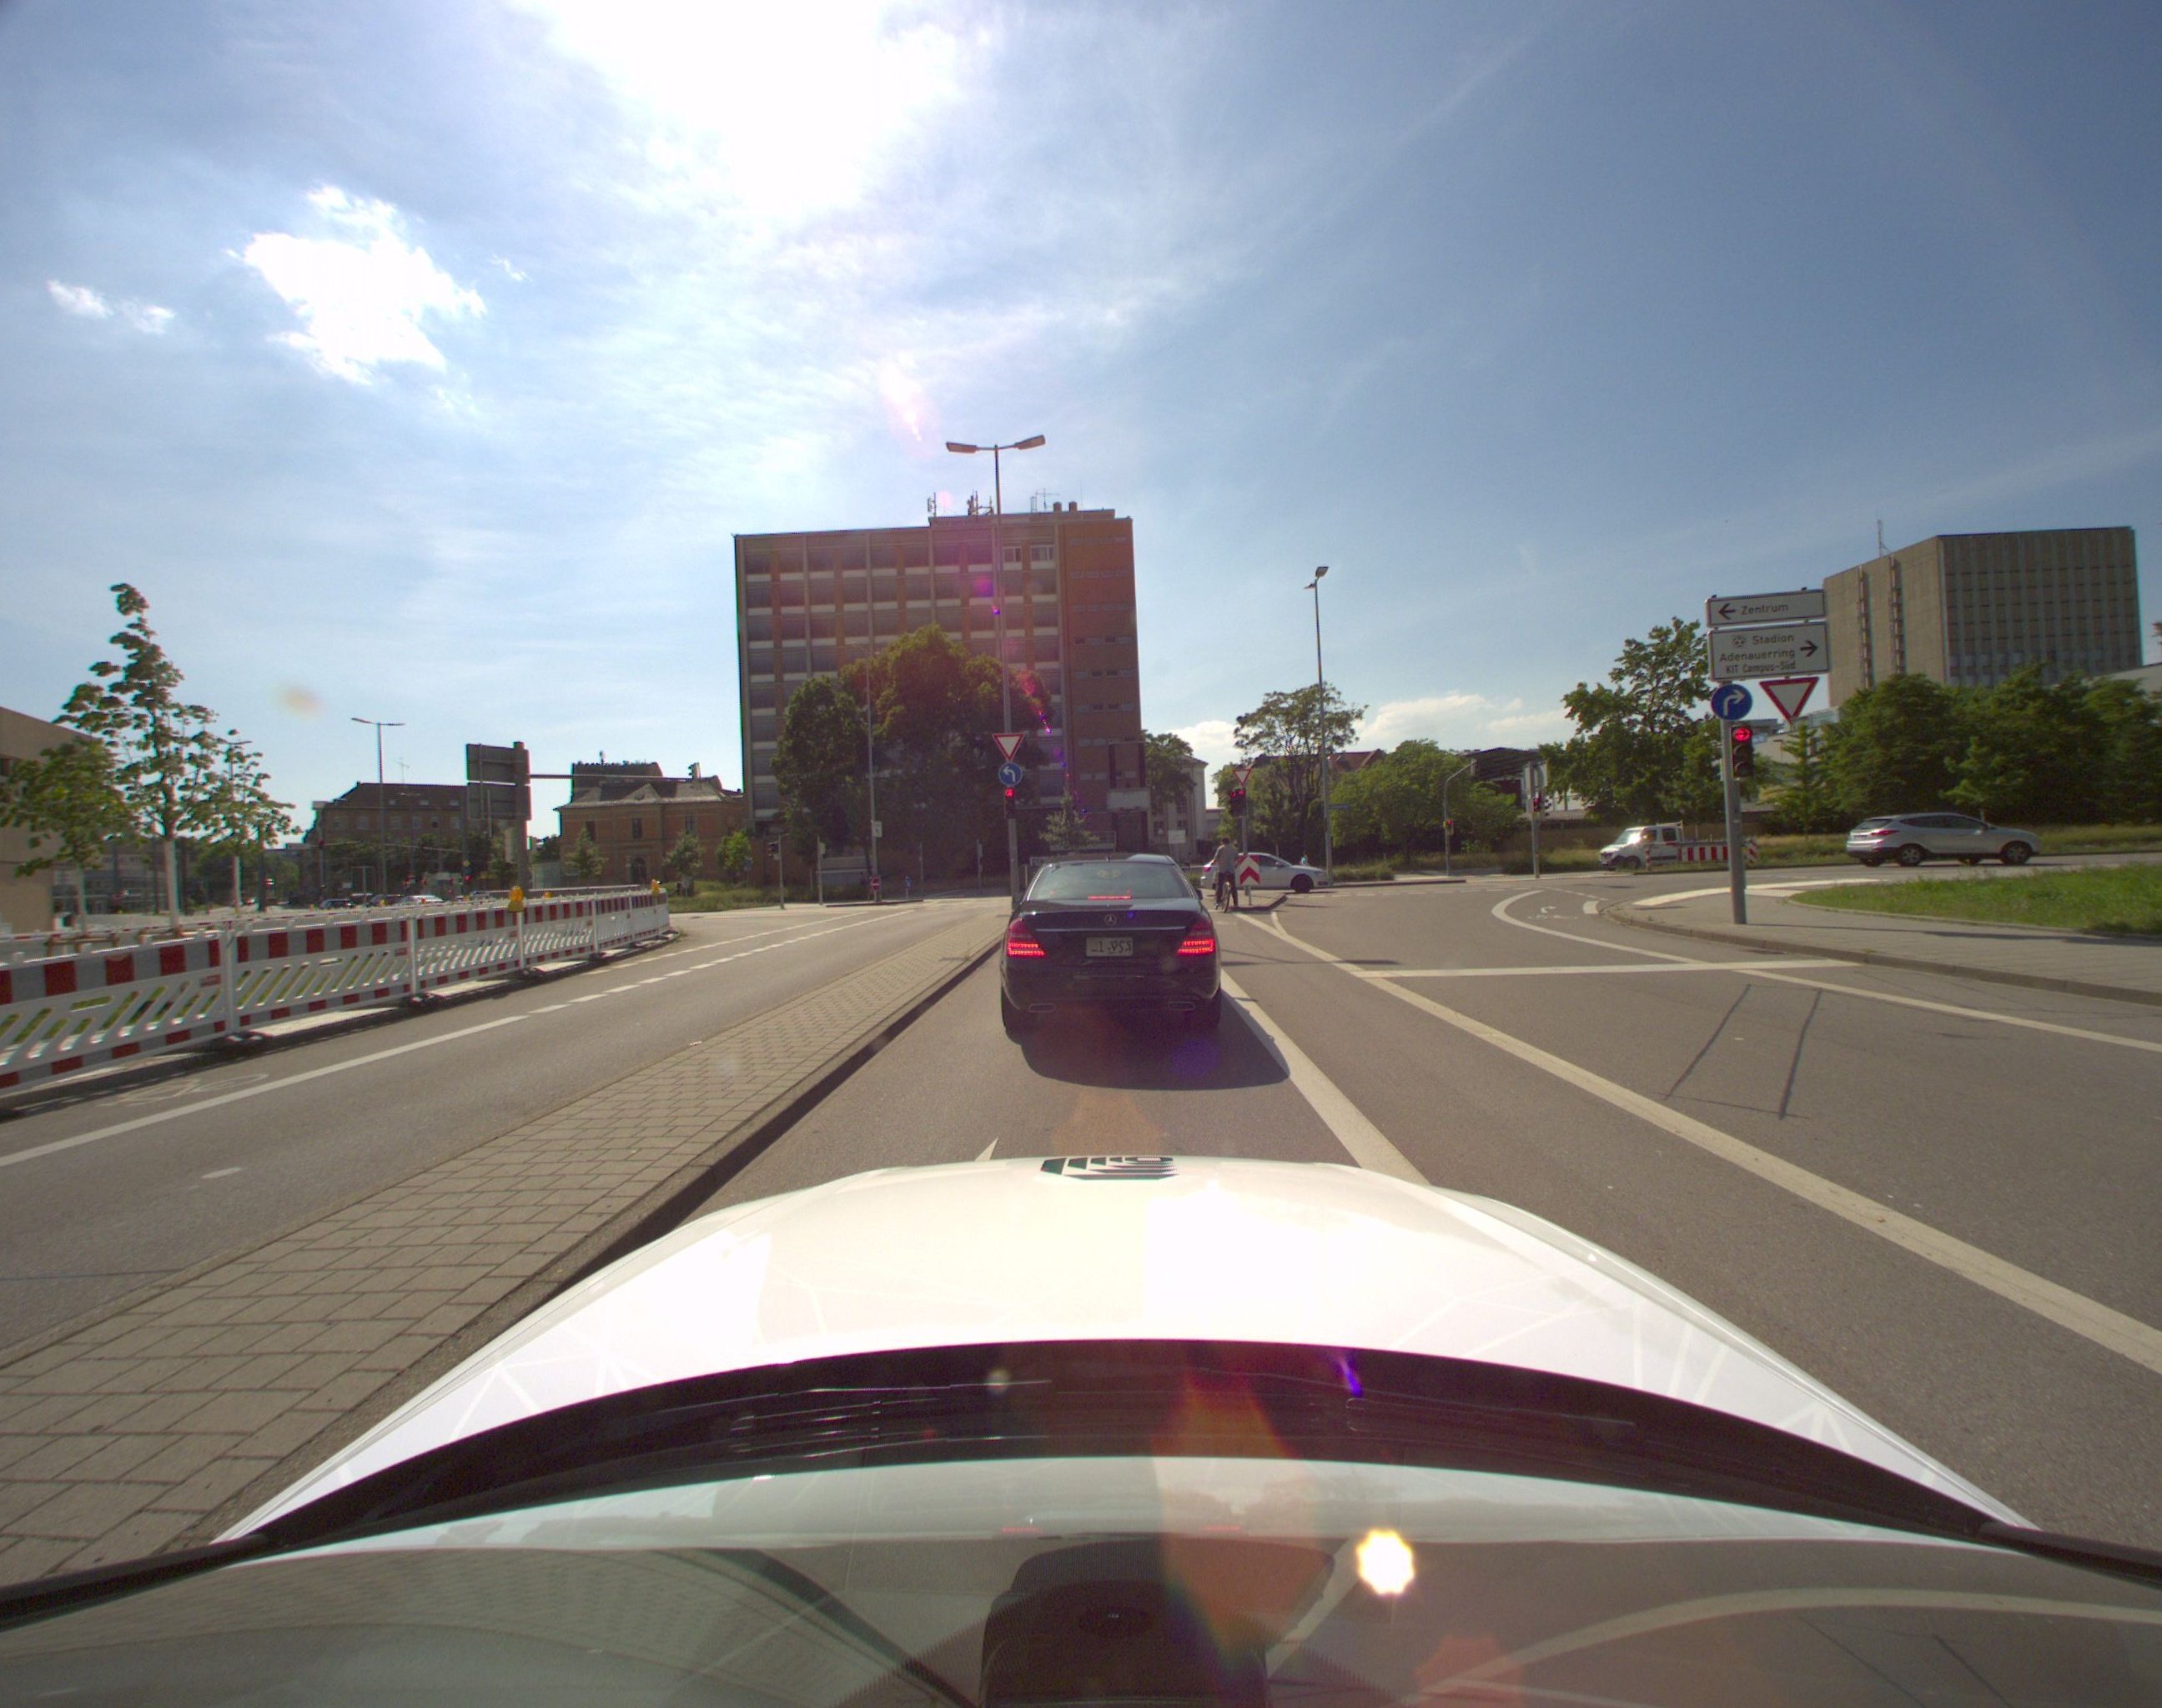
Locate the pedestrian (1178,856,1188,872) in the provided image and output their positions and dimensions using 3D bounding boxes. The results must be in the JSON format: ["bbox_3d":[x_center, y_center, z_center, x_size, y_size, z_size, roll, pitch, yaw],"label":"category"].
[{"bbox_3d":[7.970,0.770,63.700,0.788,1.214,0.759,-1,-1,8],"label":"pedestrian"}]

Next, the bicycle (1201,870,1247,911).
[{"bbox_3d":[3.595,0.901,20.665,0.691,0.946,1.955,0,-1,-4],"label":"bicycle"}]

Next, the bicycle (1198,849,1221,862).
[{"bbox_3d":[16.715,0.199,106.254,2.812,1.480,0.842,-3,0,2],"label":"bicycle"}]

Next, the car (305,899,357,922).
[{"bbox_3d":[-55.606,4.165,60.342,3.948,1.510,1.811,-3,-1,32],"label":"car"}]

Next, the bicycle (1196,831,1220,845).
[{"bbox_3d":[15.979,-2.031,102.233,2.813,1.559,0.842,-3,0,1],"label":"bicycle"}]

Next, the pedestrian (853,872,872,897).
[{"bbox_3d":[-15.540,2.169,57.927,0.790,1.725,0.878,-3,-1,24],"label":"pedestrian"}]

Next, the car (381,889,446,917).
[{"bbox_3d":[-47.965,3.511,58.504,3.951,1.816,2.011,-3,-1,24],"label":"car"}]

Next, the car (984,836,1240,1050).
[{"bbox_3d":[0.193,0.668,8.304,1.853,1.530,4.711,-1,-1,-1],"label":"car"}]

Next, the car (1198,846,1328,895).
[{"bbox_3d":[6.156,0.564,27.653,4.129,1.420,1.590,-3,0,13],"label":"car"}]

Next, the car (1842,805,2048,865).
[{"bbox_3d":[27.123,-0.573,25.727,4.174,1.618,1.718,-3,0,13],"label":"car"}]

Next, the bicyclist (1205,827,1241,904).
[{"bbox_3d":[3.585,0.290,20.641,0.684,1.878,0.858,-1,-1,-5],"label":"bicyclist"}]

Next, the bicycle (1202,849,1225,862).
[{"bbox_3d":[16.963,0.236,104.339,2.813,1.500,0.842,-3,0,1],"label":"bicycle"}]

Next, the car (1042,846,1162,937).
[{"bbox_3d":[0.412,0.649,15.622,1.986,1.508,4.001,0,-1,2],"label":"car"}]

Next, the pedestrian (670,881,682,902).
[{"bbox_3d":[-32.890,3.006,66.110,0.642,1.661,0.654,-1,-1,28],"label":"pedestrian"}]

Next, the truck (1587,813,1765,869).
[{"bbox_3d":[29.732,-0.625,40.884,6.997,2.355,2.415,-3,0,2],"label":"truck"}]

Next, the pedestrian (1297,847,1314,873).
[{"bbox_3d":[14.137,0.389,51.262,0.807,1.579,0.693,-3,-1,3],"label":"pedestrian"}]

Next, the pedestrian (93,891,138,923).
[{"bbox_3d":[-63.903,3.476,53.925,1.508,2.014,1.662,-1,-1,29],"label":"pedestrian"}]

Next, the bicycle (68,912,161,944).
[{"bbox_3d":[-63.878,4.846,53.898,1.479,1.779,3.769,-1,-1,30],"label":"bicycle"}]
